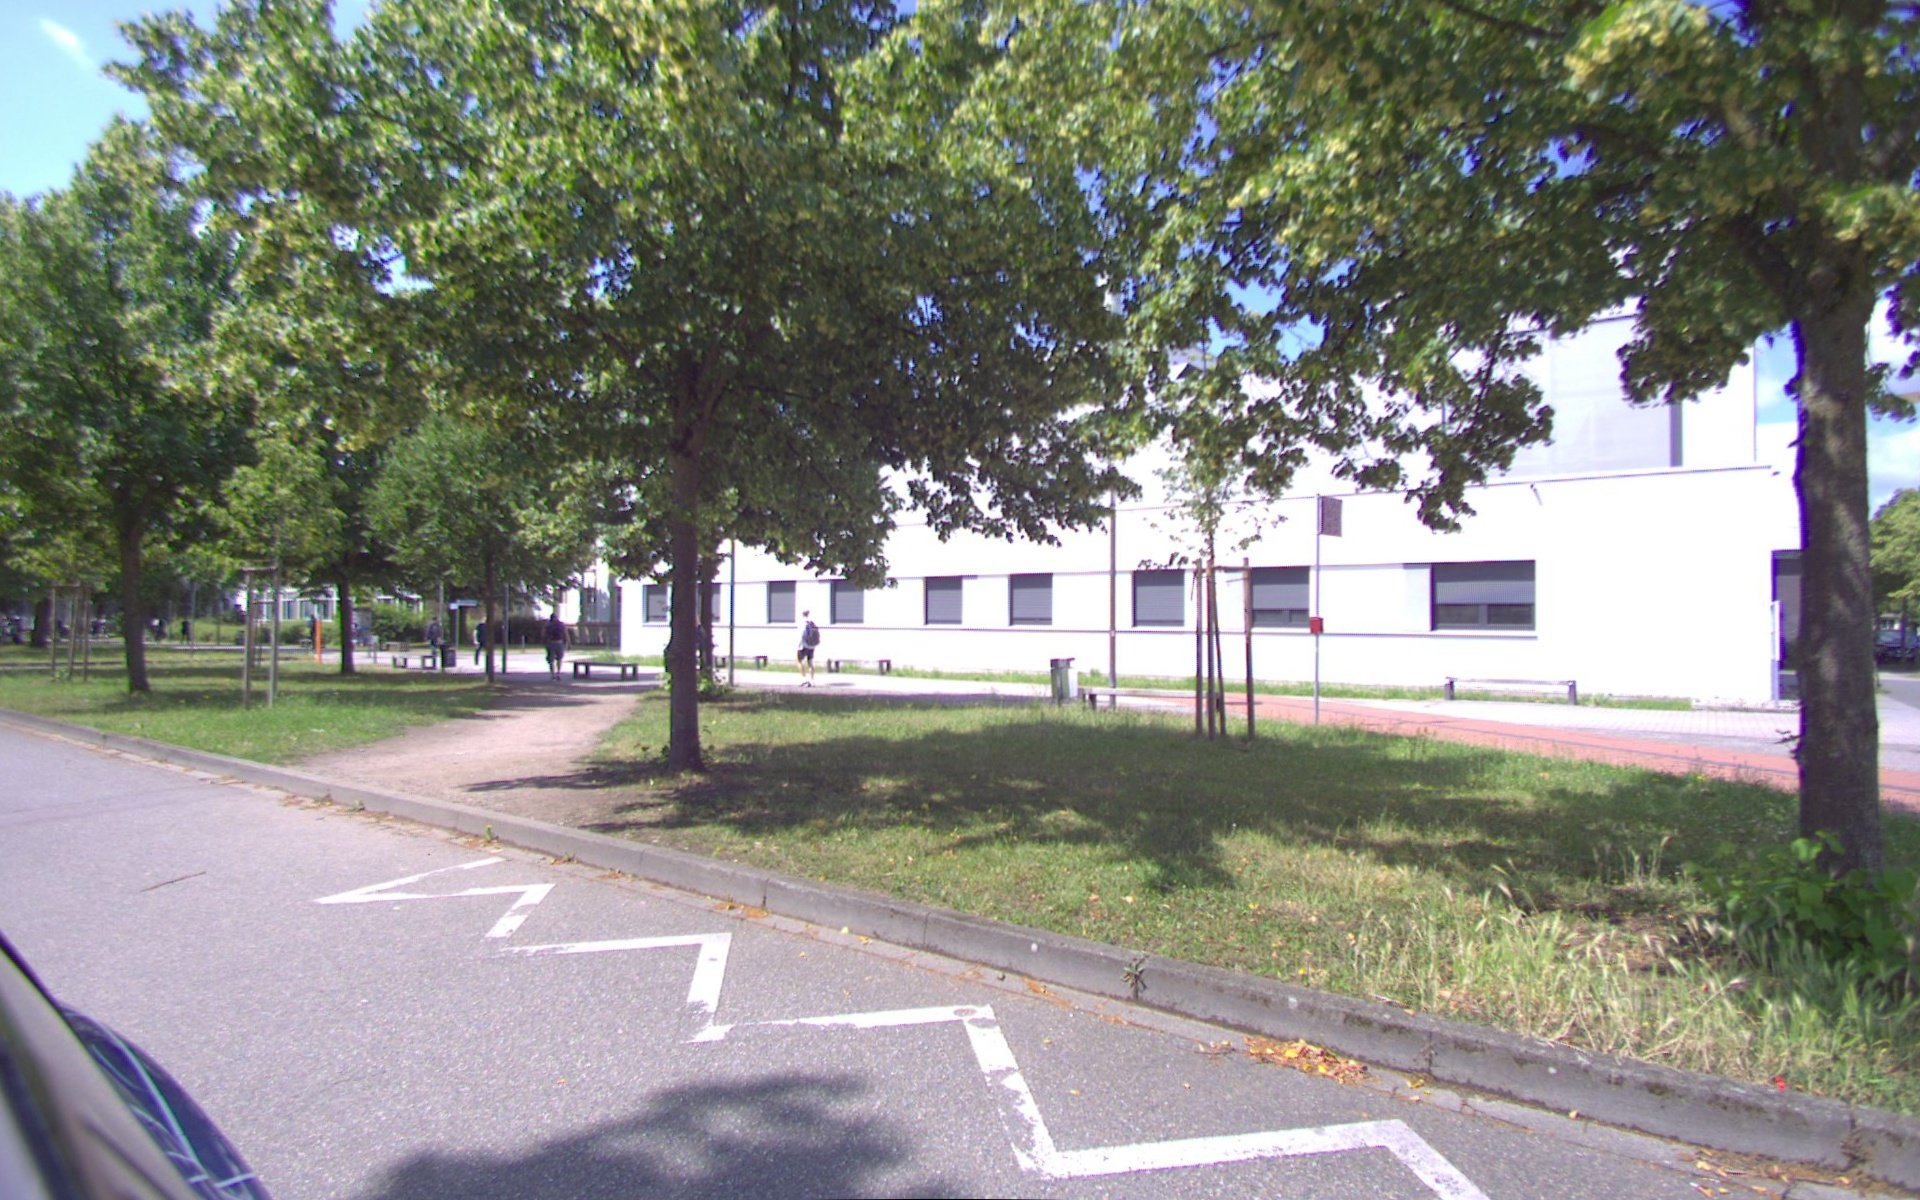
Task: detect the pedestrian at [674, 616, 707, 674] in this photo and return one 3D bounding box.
[{"bbox_3d":[-7.960,1.329,29.939,0.724,1.701,0.621,-1,-2,36],"label":"pedestrian"}]

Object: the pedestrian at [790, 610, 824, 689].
[{"bbox_3d":[-3.524,1.138,23.399,0.701,1.783,0.830,0,-2,-3],"label":"pedestrian"}]

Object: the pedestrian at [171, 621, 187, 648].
[{"bbox_3d":[-48.824,2.150,63.286,0.762,1.641,0.589,-1,-2,36],"label":"pedestrian"}]

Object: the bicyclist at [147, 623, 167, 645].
[{"bbox_3d":[-50.023,2.128,63.033,0.827,1.343,0.769,-1,-2,36],"label":"bicyclist"}]

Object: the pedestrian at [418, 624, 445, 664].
[{"bbox_3d":[-22.723,1.883,43.542,0.837,1.661,0.804,2,-2,-43],"label":"pedestrian"}]

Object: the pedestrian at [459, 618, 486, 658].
[{"bbox_3d":[-22.721,1.743,47.145,0.803,1.838,0.839,-1,-2,38],"label":"pedestrian"}]

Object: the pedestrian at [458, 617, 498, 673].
[{"bbox_3d":[-15.601,1.436,32.749,1.094,1.789,0.783,-1,-2,42],"label":"pedestrian"}]

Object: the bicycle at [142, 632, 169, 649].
[{"bbox_3d":[-50.260,2.526,63.214,2.145,1.040,0.769,-1,-2,37],"label":"bicycle"}]

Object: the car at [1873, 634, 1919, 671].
[{"bbox_3d":[37.296,2.036,39.865,1.550,1.396,3.412,-1,-2,35],"label":"car"}]

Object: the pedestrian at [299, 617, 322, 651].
[{"bbox_3d":[-32.987,1.717,51.367,0.634,1.735,0.787,-1,-2,36],"label":"pedestrian"}]

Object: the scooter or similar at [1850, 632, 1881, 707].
[{"bbox_3d":[15.576,1.180,17.416,0.327,1.245,1.059,-1,-2,40],"label":"scooter or similar"}]

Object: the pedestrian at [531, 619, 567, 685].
[{"bbox_3d":[-10.462,1.313,25.792,0.715,1.669,0.717,1,-2,-12],"label":"pedestrian"}]
